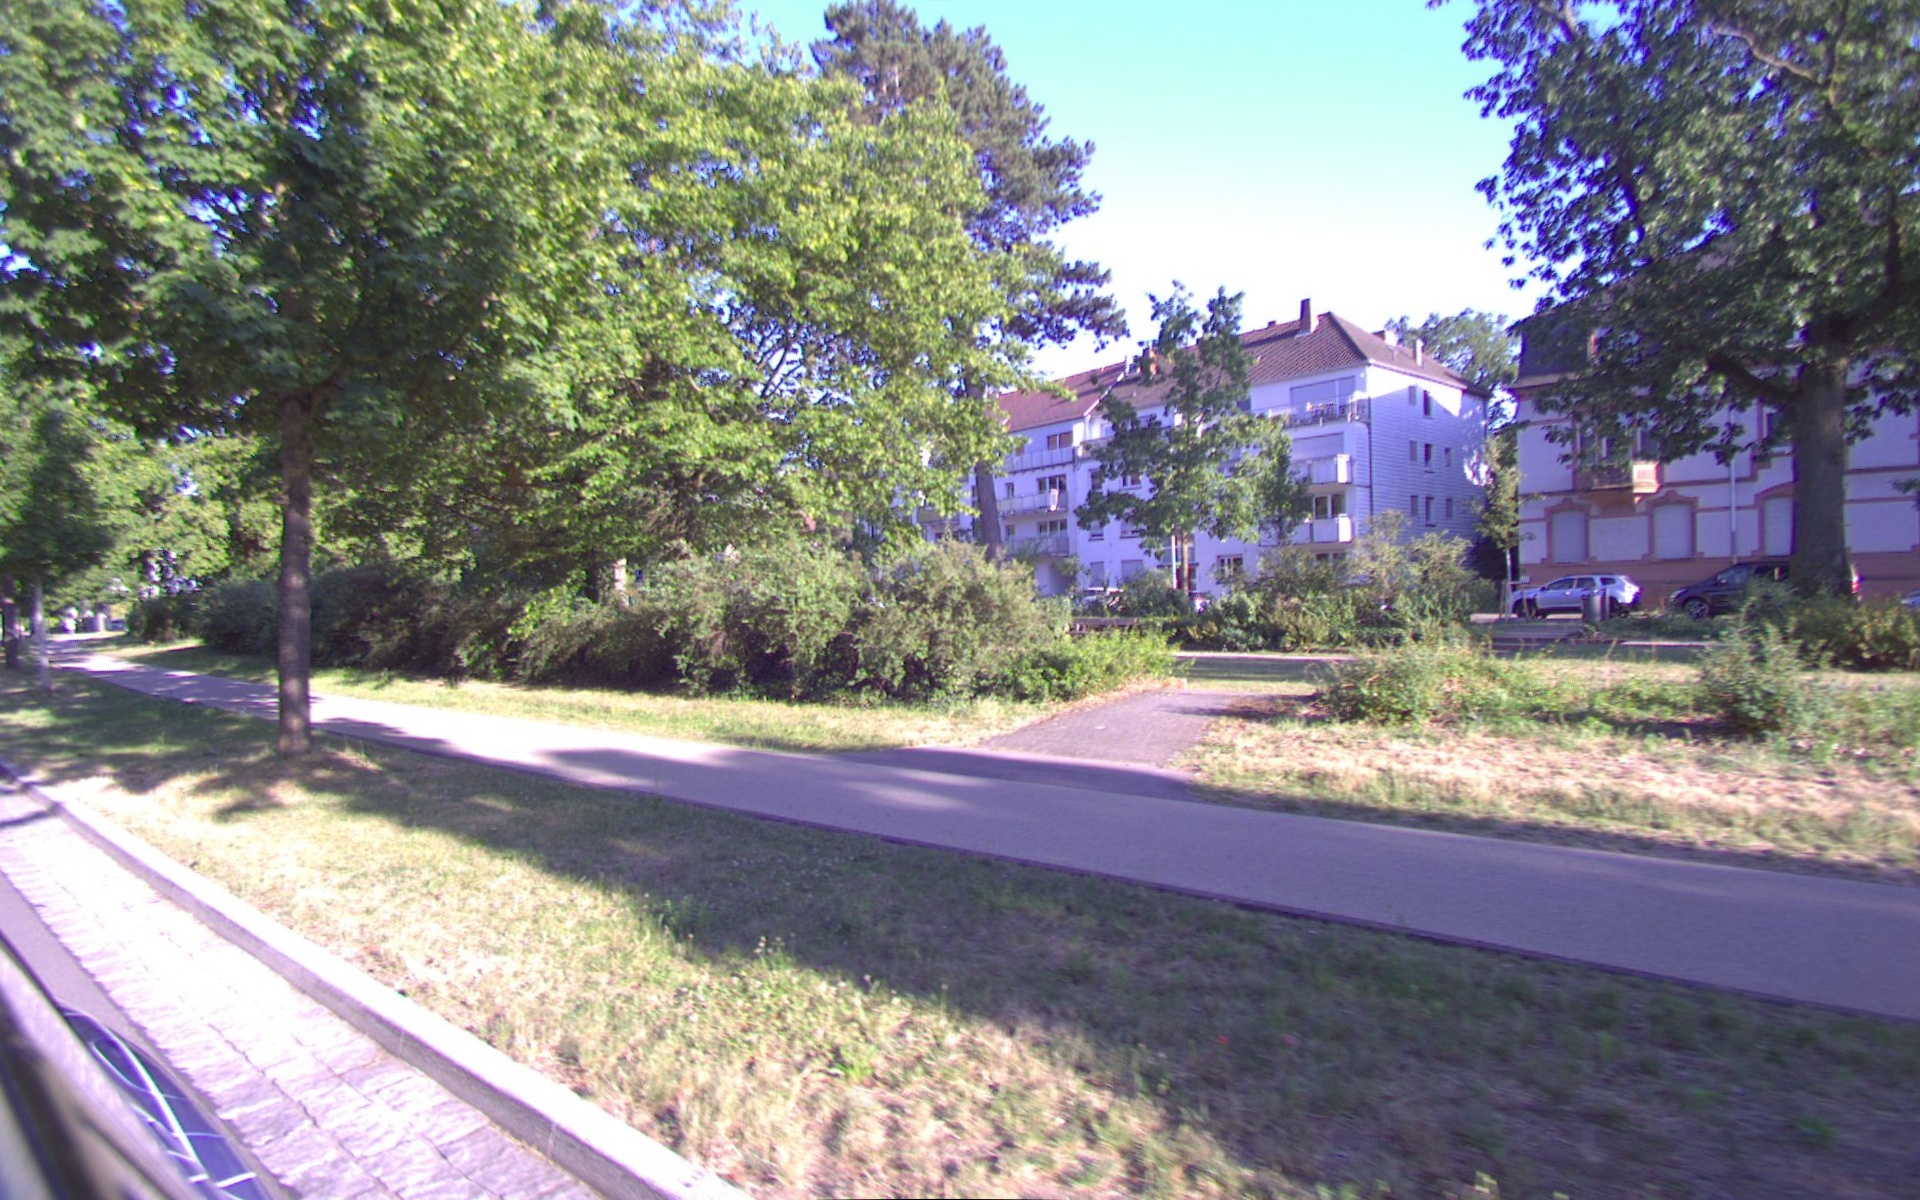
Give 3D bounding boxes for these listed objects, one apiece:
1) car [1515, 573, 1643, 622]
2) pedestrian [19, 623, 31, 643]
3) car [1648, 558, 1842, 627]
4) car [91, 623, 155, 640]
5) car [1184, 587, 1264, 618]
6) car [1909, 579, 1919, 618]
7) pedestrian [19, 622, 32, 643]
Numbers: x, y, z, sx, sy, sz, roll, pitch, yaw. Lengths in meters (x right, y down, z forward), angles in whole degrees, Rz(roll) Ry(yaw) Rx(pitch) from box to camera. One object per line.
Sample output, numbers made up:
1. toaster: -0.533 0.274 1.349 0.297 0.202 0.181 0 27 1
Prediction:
1. car: 22.647 -0.069 37.098 3.768 1.682 1.306 -2 0 44
2. pedestrian: -87.864 3.104 95.082 0.724 1.854 0.606 -5 -2 35
3. car: 25.960 -0.212 33.615 4.956 2.107 1.404 -2 0 43
4. car: -86.391 3.249 104.521 1.862 1.570 4.785 -2 0 33
5. car: 12.715 0.131 48.877 1.615 1.327 3.380 -3 1 -42
6. car: 30.212 -0.094 29.513 3.662 1.127 1.450 -2 0 43
7. pedestrian: -87.233 3.025 94.495 0.788 1.854 0.708 -4 -2 35
